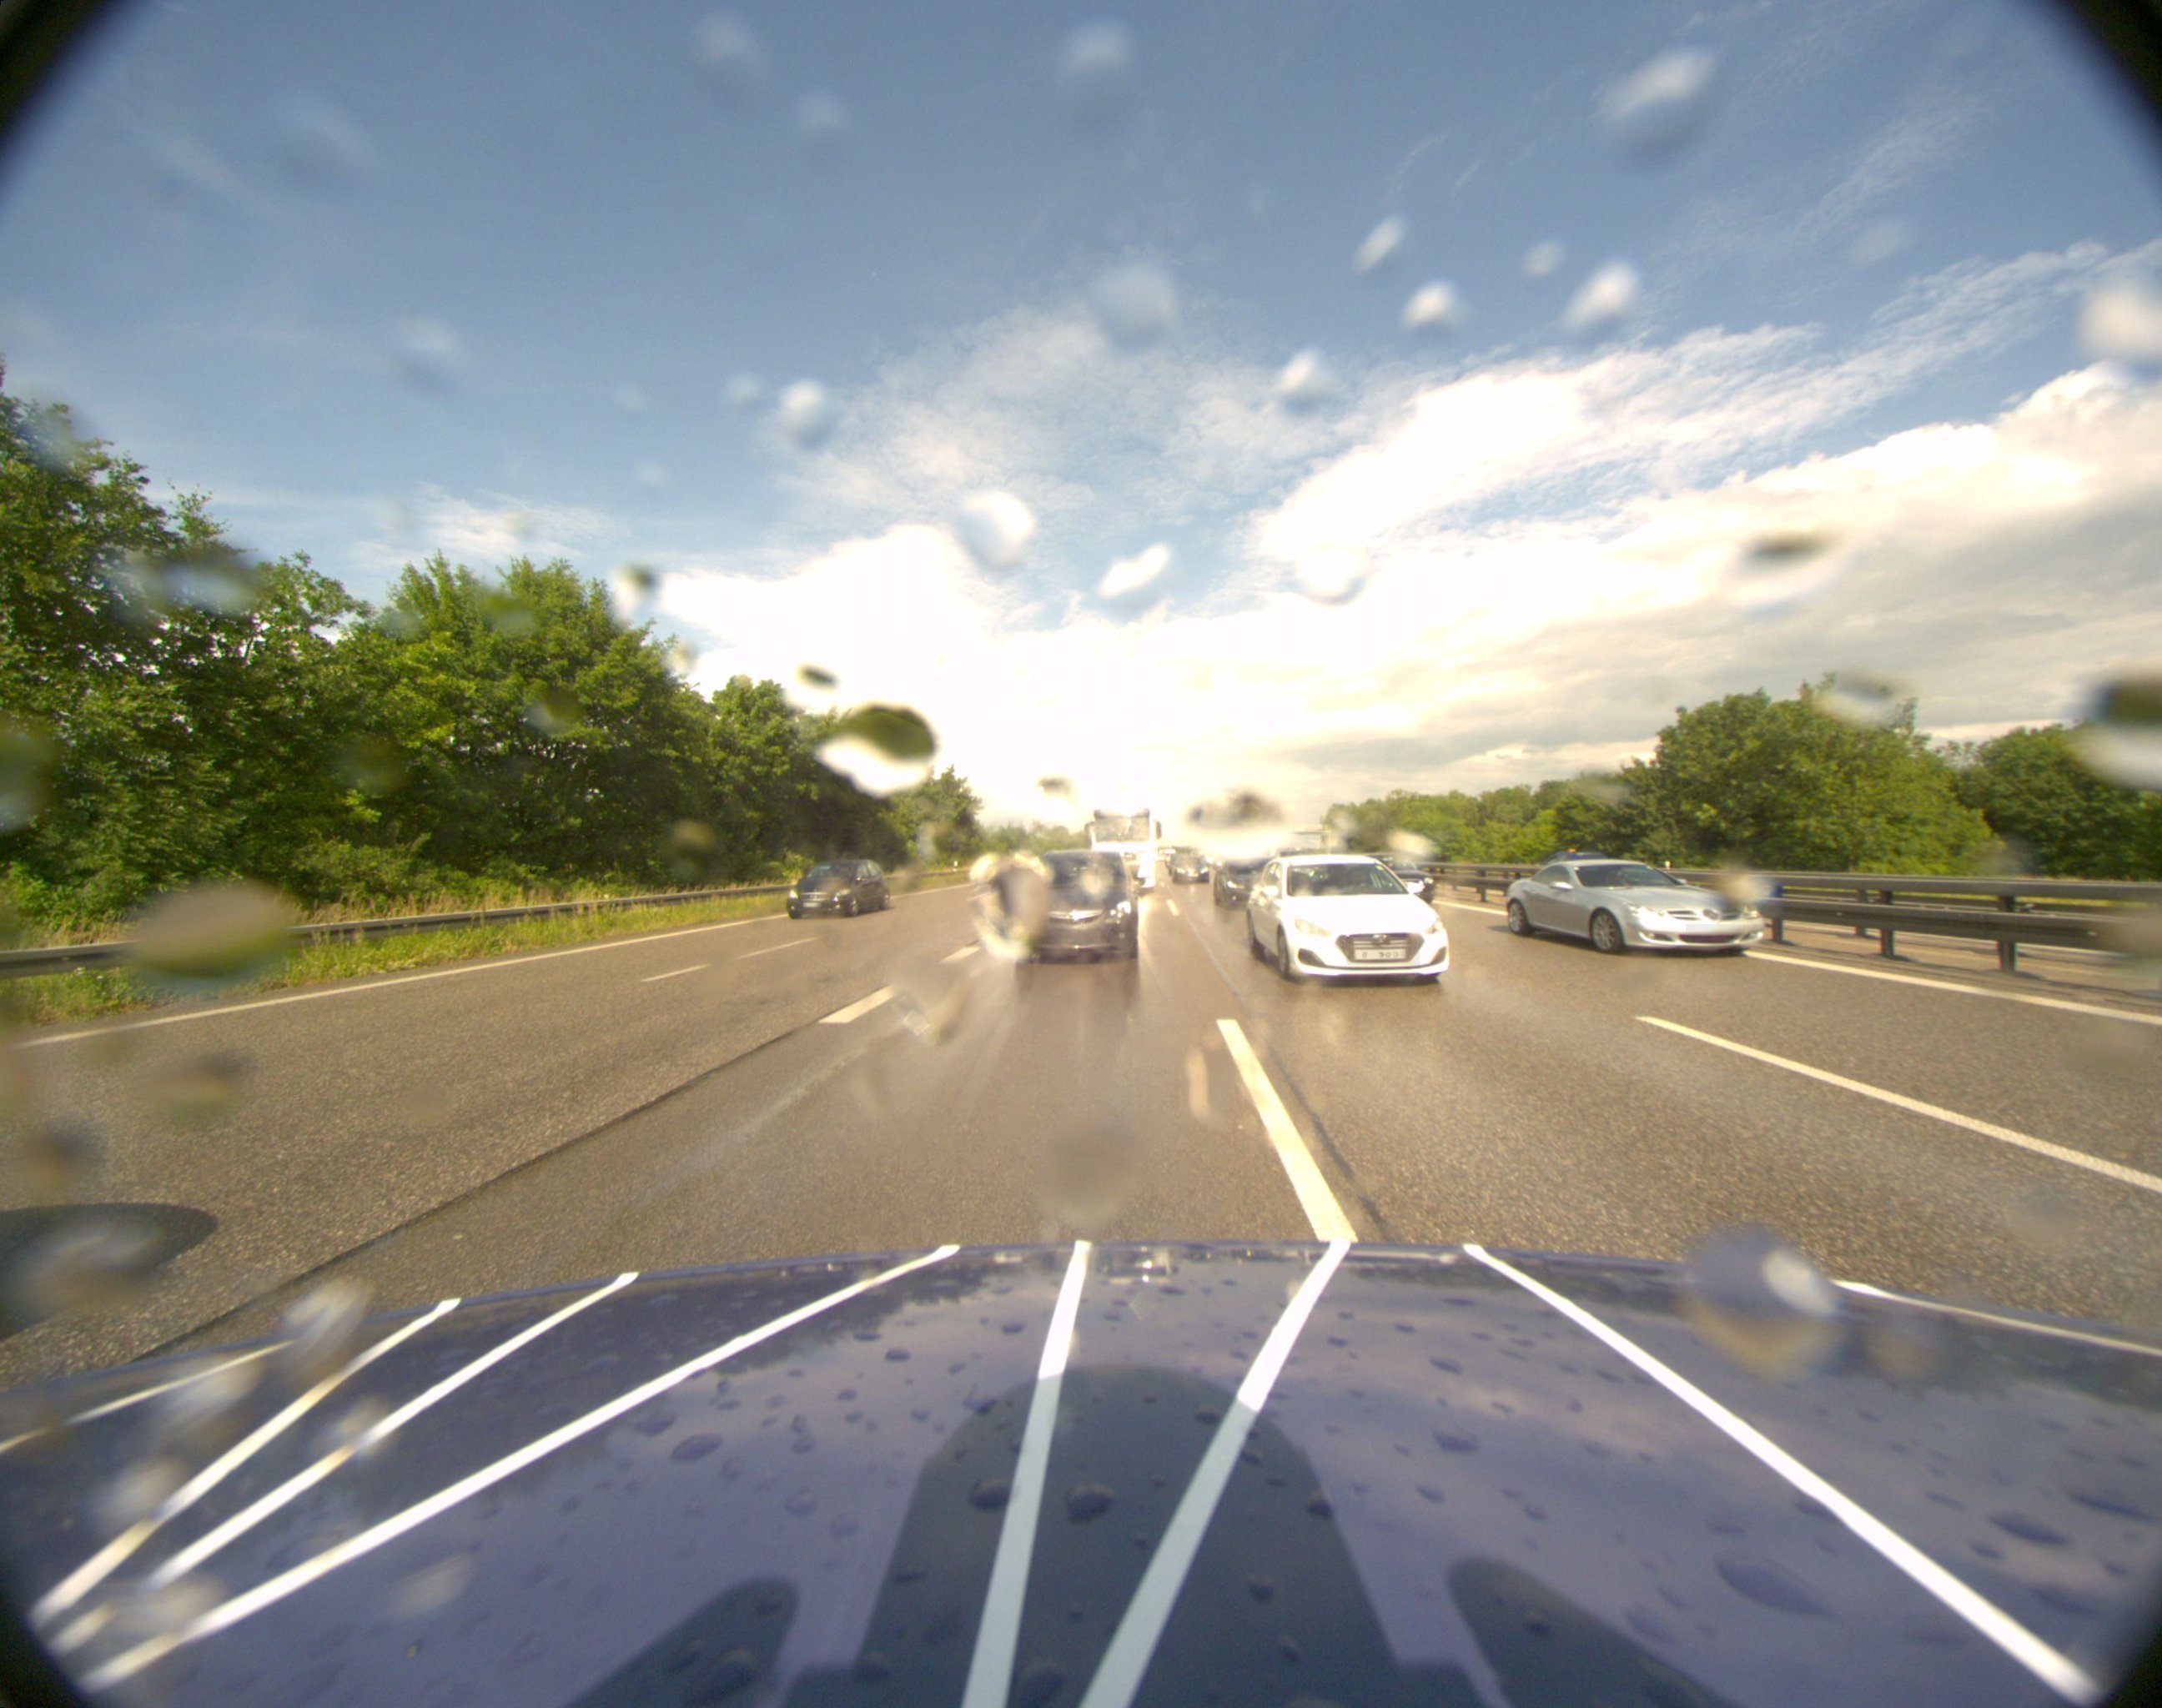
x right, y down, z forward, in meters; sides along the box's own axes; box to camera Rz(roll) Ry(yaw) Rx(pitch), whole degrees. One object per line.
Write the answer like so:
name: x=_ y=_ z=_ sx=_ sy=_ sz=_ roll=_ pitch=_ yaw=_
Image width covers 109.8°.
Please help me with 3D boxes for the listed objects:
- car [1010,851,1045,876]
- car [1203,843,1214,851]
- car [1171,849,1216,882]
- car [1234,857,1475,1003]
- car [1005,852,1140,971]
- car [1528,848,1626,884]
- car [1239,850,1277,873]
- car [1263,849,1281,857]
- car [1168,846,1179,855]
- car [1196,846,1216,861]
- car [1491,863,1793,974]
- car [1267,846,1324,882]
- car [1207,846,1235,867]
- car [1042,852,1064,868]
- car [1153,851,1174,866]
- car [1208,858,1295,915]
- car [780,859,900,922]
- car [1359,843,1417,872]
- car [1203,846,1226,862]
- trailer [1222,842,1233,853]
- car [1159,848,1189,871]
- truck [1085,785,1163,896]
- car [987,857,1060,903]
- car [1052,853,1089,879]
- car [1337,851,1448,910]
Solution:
car: x=-3.721 y=0.661 z=53.806 sx=1.824 sy=1.611 sz=4.365 roll=-2 pitch=0 yaw=4
car: x=27.810 y=-1.538 z=166.165 sx=1.998 sy=1.768 sz=4.462 roll=-1 pitch=0 yaw=5
car: x=5.896 y=0.566 z=40.341 sx=1.998 sy=1.477 sz=4.000 roll=-3 pitch=1 yaw=4
car: x=3.297 y=0.809 z=10.189 sx=1.885 sy=1.446 sz=4.549 roll=-1 pitch=0 yaw=4
car: x=0.035 y=0.816 z=12.977 sx=1.883 sy=1.638 sz=4.397 roll=-1 pitch=0 yaw=4
car: x=20.533 y=0.467 z=31.648 sx=1.760 sy=1.372 sz=3.877 roll=-1 pitch=0 yaw=4
car: x=11.642 y=0.451 z=50.188 sx=1.771 sy=1.371 sz=4.000 roll=-1 pitch=1 yaw=4
car: x=35.998 y=-0.164 z=143.292 sx=2.122 sy=1.478 sz=5.037 roll=-1 pitch=0 yaw=2
car: x=18.264 y=-0.749 z=149.946 sx=1.998 sy=1.687 sz=4.000 roll=-3 pitch=1 yaw=4
car: x=15.240 y=-0.074 z=92.918 sx=1.998 sy=1.687 sz=4.000 roll=-3 pitch=1 yaw=4
car: x=7.987 y=0.822 z=11.369 sx=1.728 sy=1.270 sz=4.064 roll=-1 pitch=0 yaw=4
car: x=10.199 y=0.439 z=36.378 sx=1.874 sy=1.597 sz=4.230 roll=-1 pitch=1 yaw=5
car: x=12.503 y=0.213 z=68.231 sx=1.998 sy=1.739 sz=4.000 roll=-3 pitch=1 yaw=4
car: x=-2.861 y=0.578 z=77.925 sx=1.998 sy=1.619 sz=4.000 roll=-1 pitch=0 yaw=1
car: x=9.033 y=0.494 z=83.399 sx=1.998 sy=1.471 sz=4.000 roll=-3 pitch=1 yaw=4
car: x=4.616 y=0.827 z=21.142 sx=1.728 sy=1.330 sz=4.288 roll=-1 pitch=0 yaw=4
car: x=-6.707 y=0.957 z=21.640 sx=1.852 sy=1.559 sz=4.001 roll=-1 pitch=1 yaw=4
car: x=18.671 y=0.198 z=46.416 sx=1.998 sy=1.614 sz=4.000 roll=-1 pitch=0 yaw=2
car: x=14.231 y=-0.001 z=81.131 sx=1.998 sy=1.471 sz=4.000 roll=-3 pitch=1 yaw=4
trailer: x=49.747 y=-2.163 z=257.505 sx=2.736 sy=3.362 sz=9.565 roll=-1 pitch=0 yaw=6
car: x=6.983 y=0.382 z=57.497 sx=1.998 sy=1.471 sz=4.000 roll=-3 pitch=1 yaw=4
truck: x=2.012 y=-0.531 z=32.354 sx=2.816 sy=4.083 sz=7.448 roll=-2 pitch=1 yaw=6
car: x=-1.988 y=0.883 z=27.486 sx=1.830 sy=1.417 sz=4.512 roll=-2 pitch=1 yaw=5
car: x=-0.636 y=0.757 z=49.600 sx=1.998 sy=1.572 sz=4.654 roll=-1 pitch=0 yaw=4
car: x=8.742 y=0.682 z=21.713 sx=1.770 sy=1.417 sz=4.140 roll=-2 pitch=1 yaw=5
